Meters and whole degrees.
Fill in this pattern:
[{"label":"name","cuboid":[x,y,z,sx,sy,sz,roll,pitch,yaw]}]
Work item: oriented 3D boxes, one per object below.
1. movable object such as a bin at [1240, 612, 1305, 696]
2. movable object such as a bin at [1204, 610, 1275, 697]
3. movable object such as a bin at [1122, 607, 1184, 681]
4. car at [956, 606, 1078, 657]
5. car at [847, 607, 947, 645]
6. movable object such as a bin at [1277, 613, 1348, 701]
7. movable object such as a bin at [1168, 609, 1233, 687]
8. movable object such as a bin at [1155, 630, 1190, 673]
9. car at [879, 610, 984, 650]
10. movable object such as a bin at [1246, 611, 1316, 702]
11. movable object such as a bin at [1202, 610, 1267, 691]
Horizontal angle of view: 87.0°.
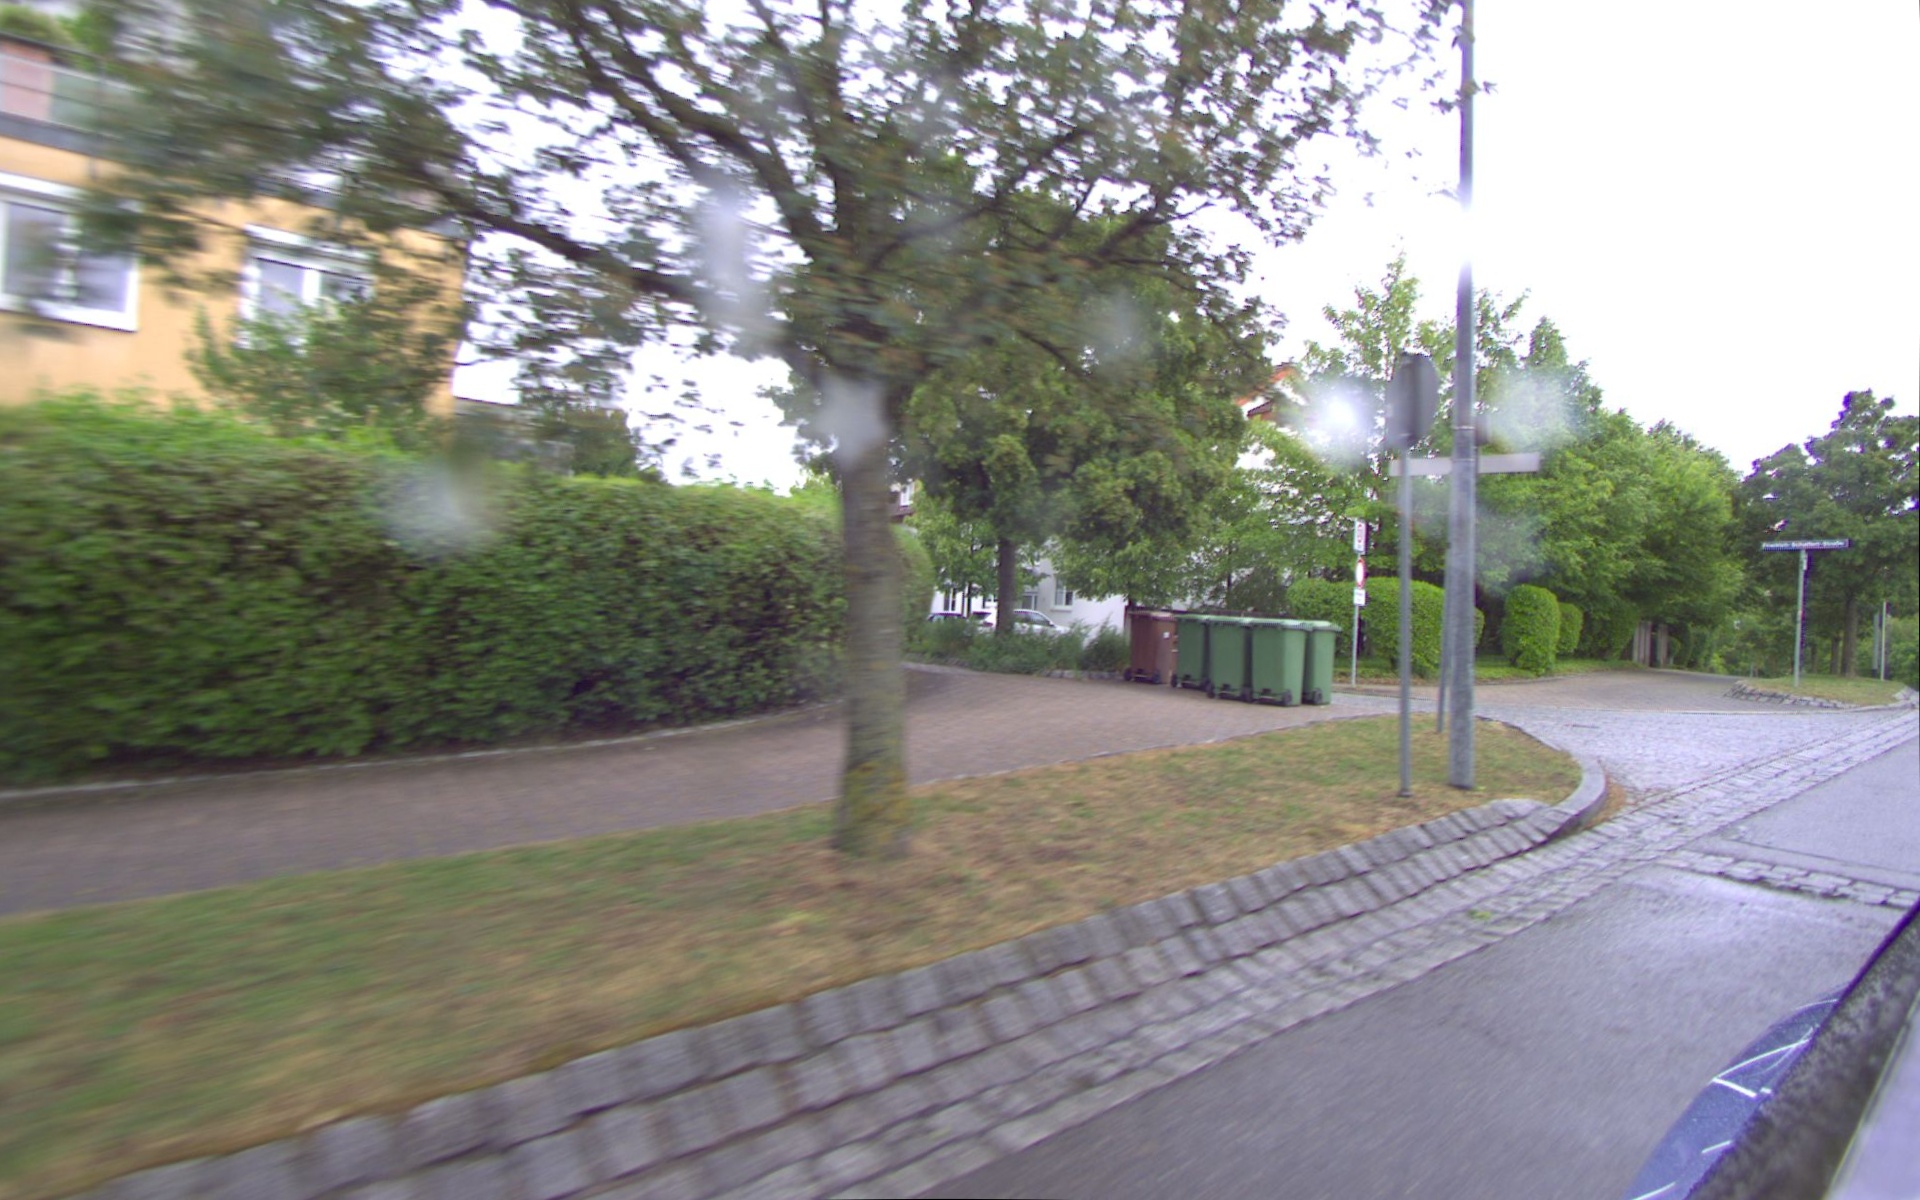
[{"label":"movable object such as a bin","cuboid":[4.237,0.722,13.721,0.684,1.088,0.543,3,-1,-42]},{"label":"movable object such as a bin","cuboid":[3.650,0.690,13.216,0.684,1.086,0.596,3,-1,-42]},{"label":"movable object such as a bin","cuboid":[2.914,0.661,15.275,0.684,1.068,0.604,3,-1,-42]},{"label":"car","cuboid":[2.014,1.119,35.626,3.917,1.685,1.782,2,-1,-27]},{"label":"car","cuboid":[-2.724,1.118,43.879,3.917,1.553,1.782,2,-1,-27]},{"label":"movable object such as a bin","cuboid":[4.621,0.735,13.269,0.684,1.088,0.601,3,-1,-42]},{"label":"movable object such as a bin","cuboid":[3.493,0.689,14.695,0.684,1.068,0.604,3,-1,-42]},{"label":"movable object such as a bin","cuboid":[4.907,1.189,23.364,0.560,0.943,0.531,4,-3,-29]},{"label":"car","cuboid":[-1.175,1.251,41.755,3.917,1.547,1.782,2,-1,-27]},{"label":"movable object such as a bin","cuboid":[4.031,0.700,12.700,0.655,1.087,0.543,3,-1,-41]},{"label":"movable object such as a bin","cuboid":[3.847,0.704,14.175,0.684,1.081,0.578,3,-1,-42]}]
